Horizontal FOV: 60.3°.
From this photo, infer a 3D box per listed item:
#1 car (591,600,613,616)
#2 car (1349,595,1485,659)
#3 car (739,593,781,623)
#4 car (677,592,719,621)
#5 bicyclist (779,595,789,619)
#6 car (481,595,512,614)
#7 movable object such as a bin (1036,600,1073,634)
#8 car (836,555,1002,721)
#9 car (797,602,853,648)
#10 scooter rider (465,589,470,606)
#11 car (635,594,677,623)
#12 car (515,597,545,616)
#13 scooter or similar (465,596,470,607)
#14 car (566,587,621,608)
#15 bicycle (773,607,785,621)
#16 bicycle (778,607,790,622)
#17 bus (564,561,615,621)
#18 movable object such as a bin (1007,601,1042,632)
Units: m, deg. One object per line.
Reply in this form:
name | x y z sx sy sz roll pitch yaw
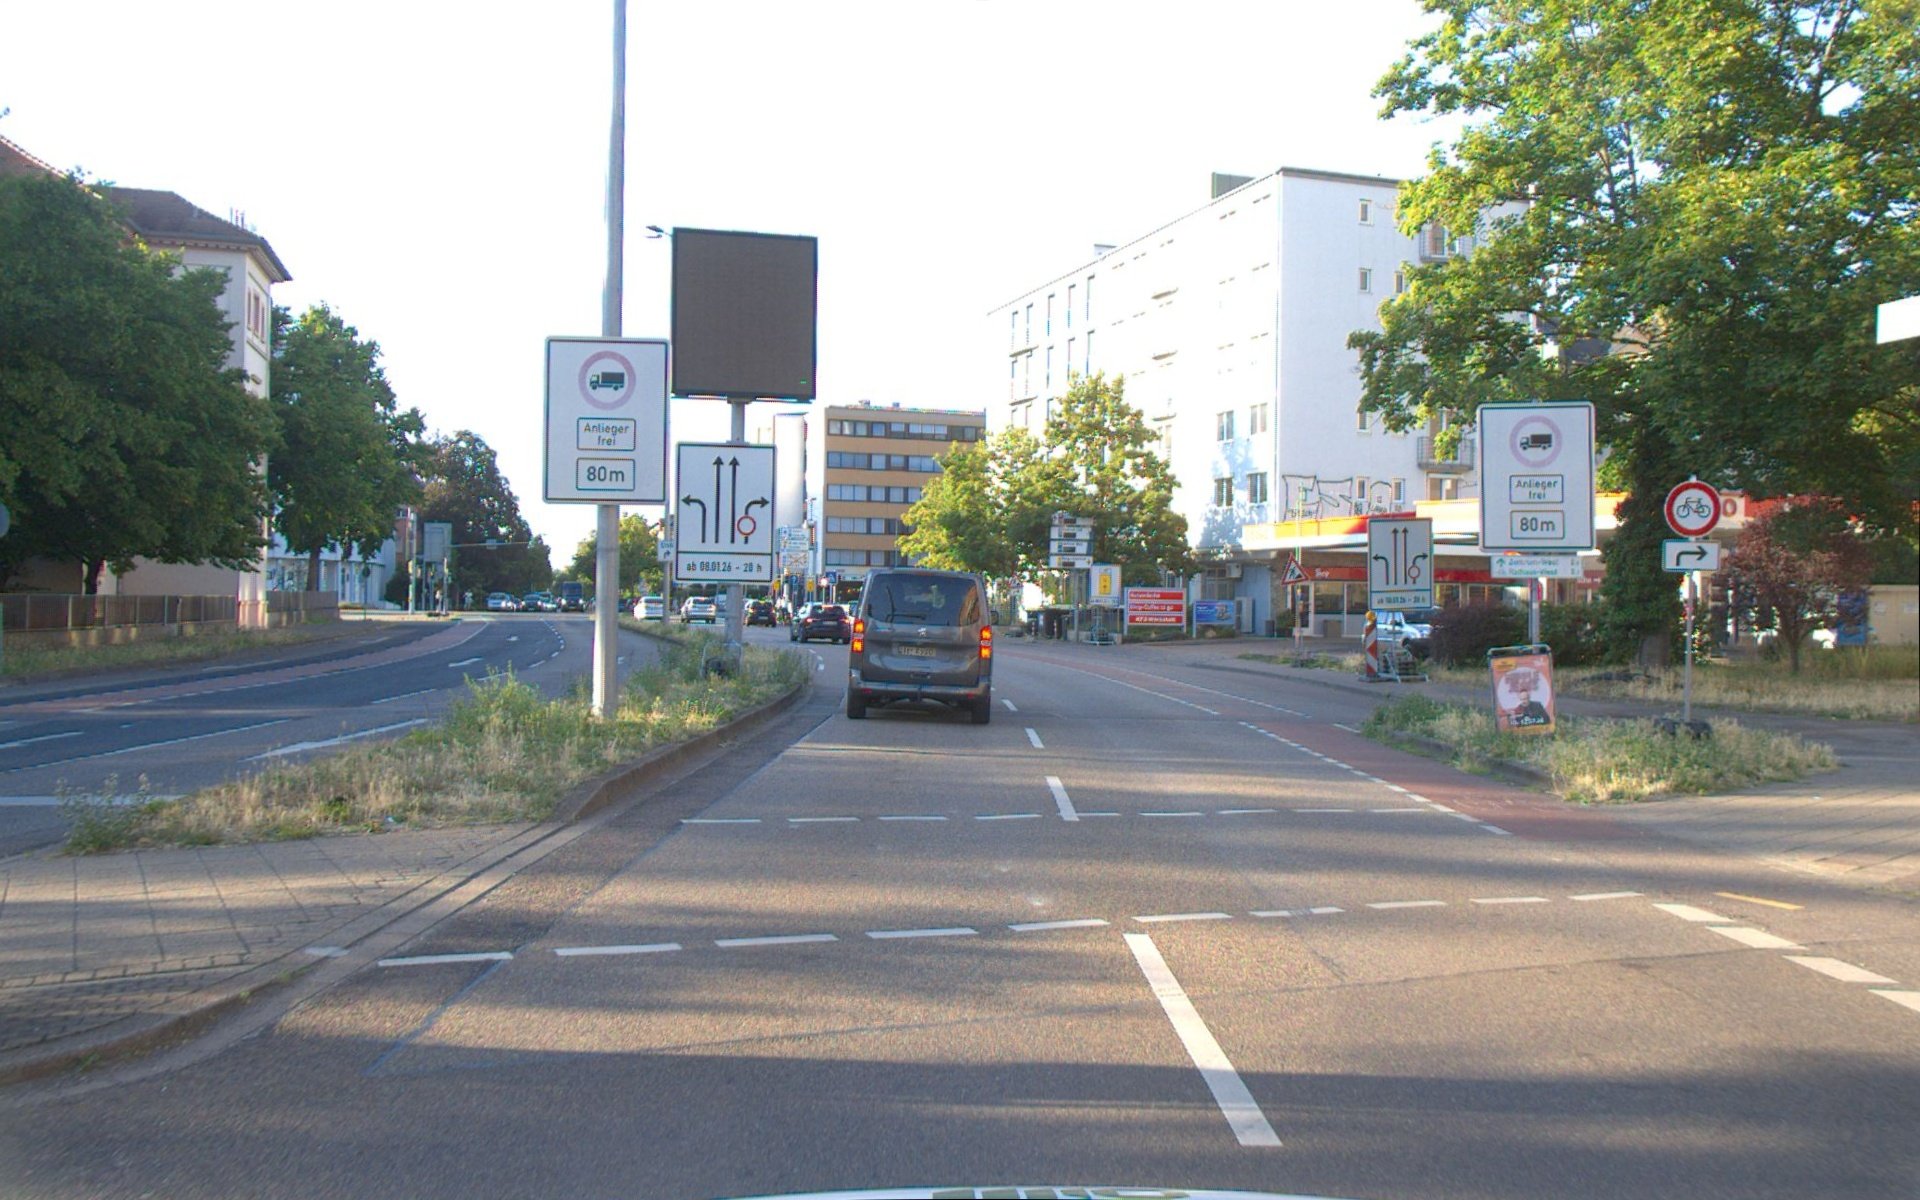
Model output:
car | -38.544 0.856 178.047 1.820 1.738 3.705 1 0 -19
car | 11.919 0.672 43.391 1.739 1.557 4.342 1 0 -10
car | -11.536 0.427 95.363 1.959 1.685 4.285 1 0 -13
car | -15.794 0.363 99.635 1.962 1.685 4.279 1 0 -17
bicyclist | -10.743 0.412 100.927 0.531 1.485 0.639 1 0 -14
car | -39.750 0.368 141.999 1.956 1.623 3.993 1 0 -7
movable object such as a bin | 4.200 0.743 73.689 1.434 1.479 1.545 1 0 -6
car | -0.493 0.470 22.232 1.953 1.934 4.299 2 0 0
car | -4.842 0.866 58.829 1.811 1.571 3.625 1 0 -7
scooter rider | -40.882 -0.176 137.362 0.349 1.397 0.336 1 0 -14
car | -18.105 0.503 98.419 1.962 1.685 4.279 1 0 -17
car | -37.173 0.554 143.034 1.956 1.623 3.993 1 0 -7
scooter or similar | -40.885 0.121 137.345 0.351 0.911 0.901 1 0 -13
car | -29.871 -0.173 134.822 3.941 1.623 1.982 1 0 -28
bicycle | -11.251 0.884 102.927 0.524 0.862 1.677 1 0 -13
bicycle | -10.769 0.887 101.038 0.524 0.862 1.677 1 0 -13
bus | -31.125 -0.715 138.670 3.238 4.698 9.952 2 -1 -17
movable object such as a bin | 2.991 0.758 76.932 1.434 1.410 1.545 1 0 -6
